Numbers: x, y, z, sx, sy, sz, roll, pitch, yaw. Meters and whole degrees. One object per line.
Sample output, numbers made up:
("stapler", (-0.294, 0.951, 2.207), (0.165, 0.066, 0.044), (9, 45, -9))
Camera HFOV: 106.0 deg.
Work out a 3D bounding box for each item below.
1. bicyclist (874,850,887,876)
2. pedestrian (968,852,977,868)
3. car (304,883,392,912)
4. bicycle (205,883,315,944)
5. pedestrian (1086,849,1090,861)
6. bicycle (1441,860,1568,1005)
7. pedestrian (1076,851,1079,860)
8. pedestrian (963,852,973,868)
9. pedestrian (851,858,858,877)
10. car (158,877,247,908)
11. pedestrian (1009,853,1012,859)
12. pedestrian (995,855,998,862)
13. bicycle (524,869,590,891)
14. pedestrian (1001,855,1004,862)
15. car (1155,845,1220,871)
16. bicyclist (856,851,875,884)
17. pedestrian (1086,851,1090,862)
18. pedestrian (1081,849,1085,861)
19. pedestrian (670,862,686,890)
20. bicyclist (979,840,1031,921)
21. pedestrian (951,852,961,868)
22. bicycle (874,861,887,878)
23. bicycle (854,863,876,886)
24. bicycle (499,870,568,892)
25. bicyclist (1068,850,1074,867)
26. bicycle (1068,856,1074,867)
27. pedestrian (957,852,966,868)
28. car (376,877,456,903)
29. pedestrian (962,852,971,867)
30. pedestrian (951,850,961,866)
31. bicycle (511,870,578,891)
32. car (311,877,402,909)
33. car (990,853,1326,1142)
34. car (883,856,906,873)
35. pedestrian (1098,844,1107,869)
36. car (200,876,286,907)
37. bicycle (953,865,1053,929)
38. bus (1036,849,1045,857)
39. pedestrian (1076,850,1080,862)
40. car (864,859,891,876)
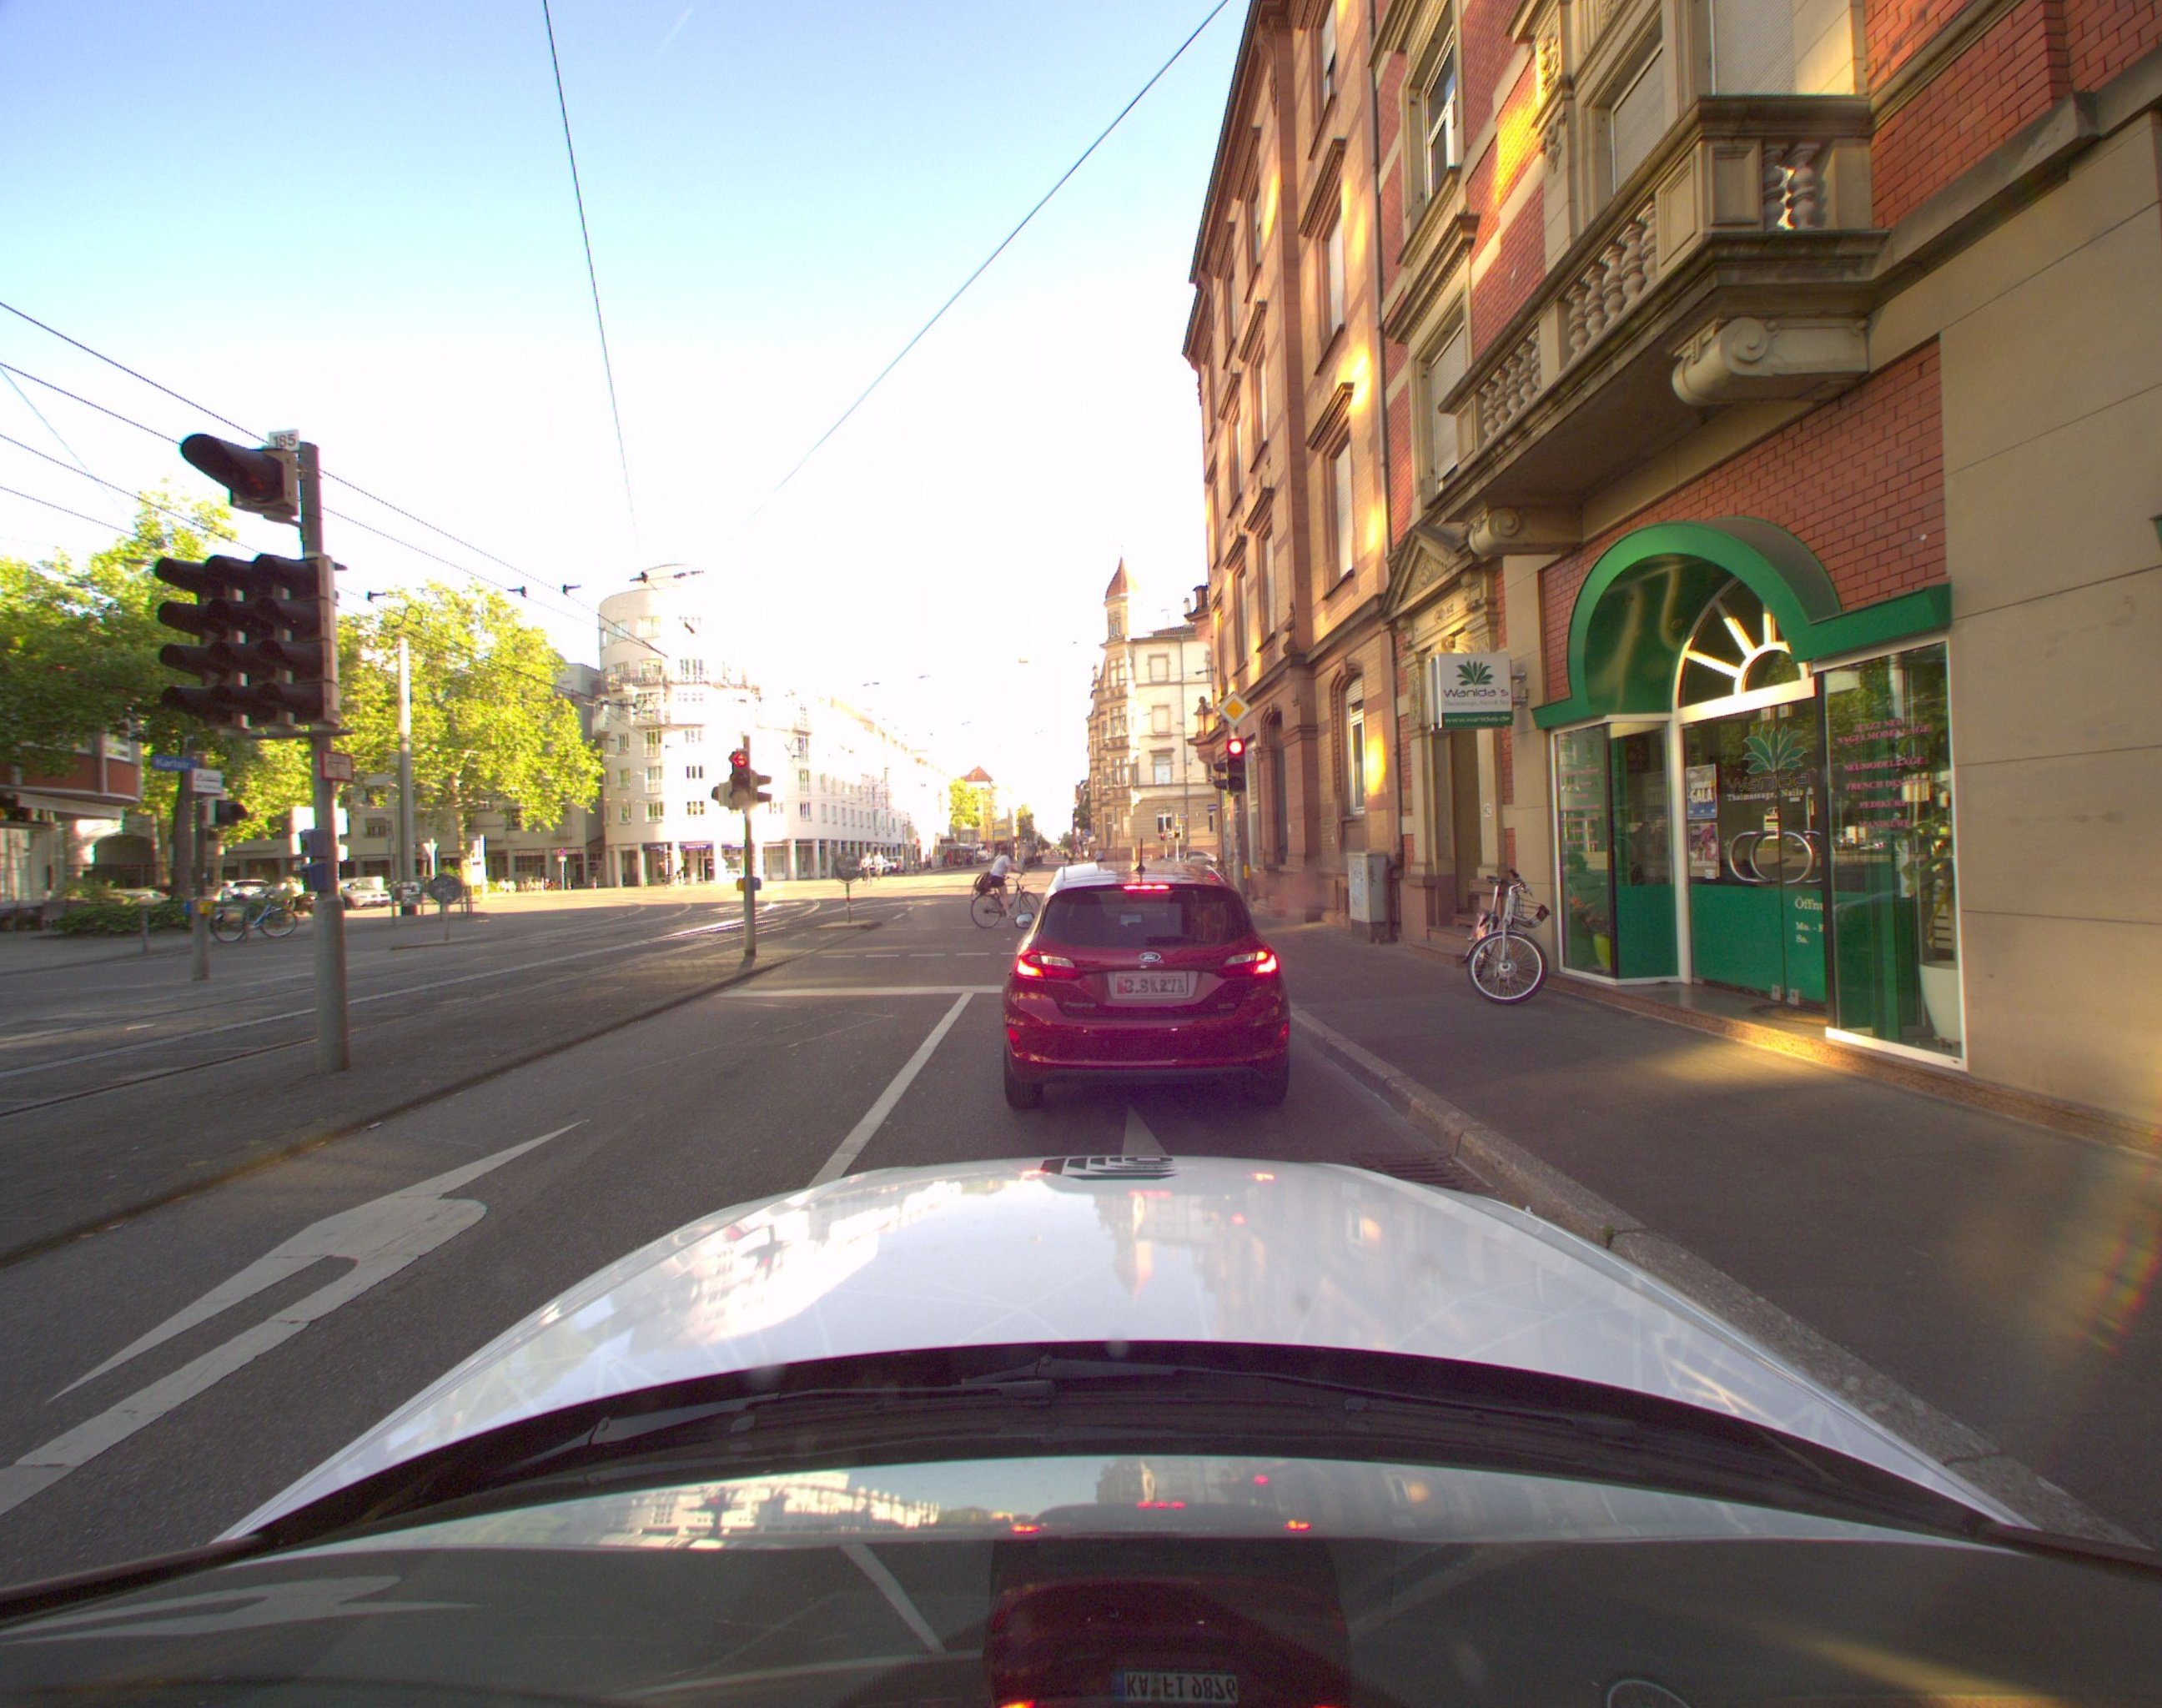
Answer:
("bicyclist", (-14.091, 0.625, 57.128), (0.809, 1.821, 0.988), (-2, 0, -16))
("pedestrian", (-14.145, 0.773, 106.282), (1.043, 2.013, 0.958), (-2, 0, -3))
("car", (-36.899, 2.198, 40.985), (3.968, 1.295, 1.781), (-2, 0, 24))
("bicycle", (-19.735, 1.395, 19.642), (0.668, 1.327, 1.907), (1, 0, 2))
("pedestrian", (1.175, 0.197, 134.943), (0.574, 2.013, 0.632), (-2, 0, 5))
("bicycle", (3.886, 0.671, 7.612), (0.710, 1.152, 1.662), (-4, 0, 17))
("pedestrian", (-0.783, 0.272, 176.868), (0.575, 2.013, 0.630), (-2, 0, 0))
("pedestrian", (-14.353, 0.760, 103.627), (1.043, 2.013, 0.958), (-2, 0, -3))
("pedestrian", (-20.518, 1.242, 73.710), (0.524, 1.681, 0.484), (-2, 0, -8))
("car", (-63.299, 2.768, 58.771), (1.986, 1.964, 4.001), (-2, 0, 1))
("pedestrian", (-17.087, 0.478, 197.556), (0.630, 1.604, 0.575), (-2, 0, -18))
("pedestrian", (-17.531, 0.977, 168.956), (0.579, 1.488, 0.525), (-2, 0, -3))
("bicycle", (-42.824, 2.121, 66.609), (4.685, 1.530, 1.067), (-2, 0, 2))
("pedestrian", (-15.859, 0.926, 164.699), (0.522, 1.488, 0.583), (-2, 0, 1))
("car", (7.572, 0.277, 58.003), (4.427, 1.641, 1.705), (-2, 0, 2))
("bicyclist", (-11.702, 0.726, 44.245), (0.807, 1.726, 0.792), (-2, 0, -7))
("pedestrian", (1.020, 0.344, 118.906), (0.412, 1.680, 0.485), (-2, 0, 1))
("pedestrian", (0.302, 0.198, 133.040), (0.574, 2.013, 0.632), (-2, 0, 5))
("pedestrian", (-29.641, 1.610, 59.916), (0.949, 2.013, 0.931), (-2, 0, -29))
("bicyclist", (-1.580, 0.539, 16.934), (0.735, 1.626, 0.757), (-2, 1, -37))
("pedestrian", (-15.567, 0.751, 101.261), (0.953, 2.013, 1.048), (-2, 0, -1))
("bicycle", (-14.133, 1.091, 57.288), (0.809, 1.147, 1.999), (-2, 0, -16))
("bicycle", (-11.671, 1.093, 44.106), (0.807, 1.147, 2.045), (-2, 0, -6))
("bicycle", (-42.982, 2.130, 63.919), (4.685, 1.530, 1.067), (-2, 0, 2))
("bicyclist", (-0.986, 0.459, 81.403), (0.498, 1.676, 0.545), (-2, 0, 1))
("bicycle", (-0.967, 0.760, 81.571), (0.524, 1.089, 1.487), (-2, 0, 1))
("pedestrian", (-15.484, 0.773, 105.492), (1.043, 2.013, 0.958), (-2, 0, -3))
("car", (-44.156, 2.380, 54.103), (3.969, 1.531, 1.618), (-2, 0, 4))
("pedestrian", (-15.357, 0.712, 109.360), (0.954, 2.013, 1.047), (-2, 0, -3))
("pedestrian", (-15.872, 0.483, 103.481), (1.043, 2.013, 0.958), (-2, 0, -3))
("bicycle", (-42.820, 2.111, 65.057), (4.685, 1.530, 1.067), (-2, 0, 2))
("car", (-40.221, 2.170, 45.218), (3.978, 1.559, 1.636), (-2, 0, 11))
("car", (0.325, 0.737, 6.208), (1.750, 1.466, 3.941), (-1, 0, -3))
("car", (-20.223, 1.074, 88.278), (1.696, 1.718, 3.562), (-2, 0, -1))
("pedestrian", (1.722, 0.225, 66.380), (0.649, 2.013, 0.759), (-2, 0, -2))
("car", (-60.380, 2.674, 58.787), (1.986, 1.964, 4.001), (-2, 0, 1))
("bicycle", (-1.597, 0.861, 16.952), (2.034, 1.177, 0.621), (-2, 1, -38))
("bus", (-10.866, -0.288, 217.720), (1.919, 2.013, 7.137), (-2, 0, 1))
("pedestrian", (-0.478, 0.351, 132.912), (0.574, 2.013, 0.632), (-2, 0, 5))
("car", (-20.149, 1.285, 80.649), (1.760, 1.546, 3.460), (-2, 0, 0))
